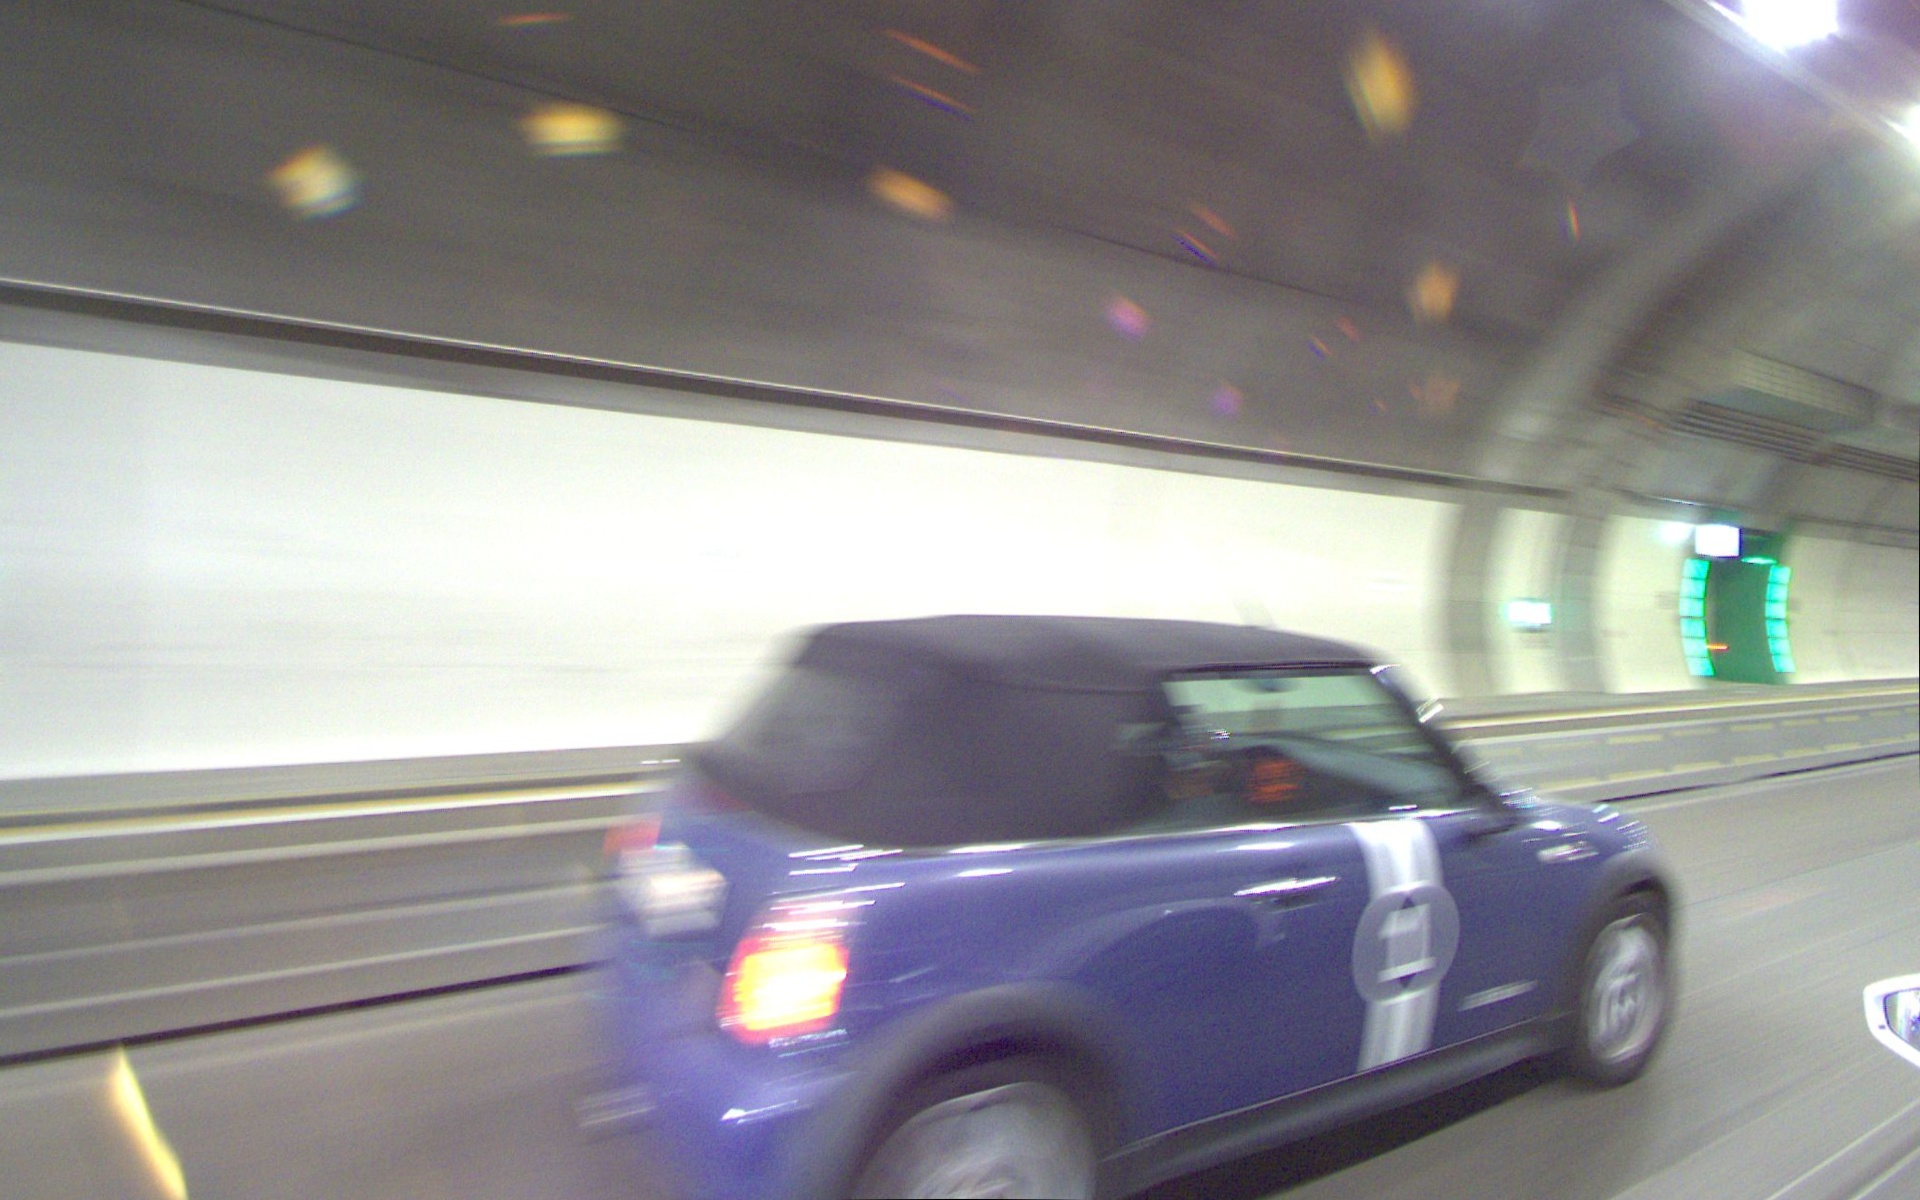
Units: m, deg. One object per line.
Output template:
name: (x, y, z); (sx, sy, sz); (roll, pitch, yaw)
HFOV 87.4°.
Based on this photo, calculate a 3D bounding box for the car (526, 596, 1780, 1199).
car: (0.795, 0.757, 3.273); (3.877, 1.436, 1.681); (1, 0, -31)
